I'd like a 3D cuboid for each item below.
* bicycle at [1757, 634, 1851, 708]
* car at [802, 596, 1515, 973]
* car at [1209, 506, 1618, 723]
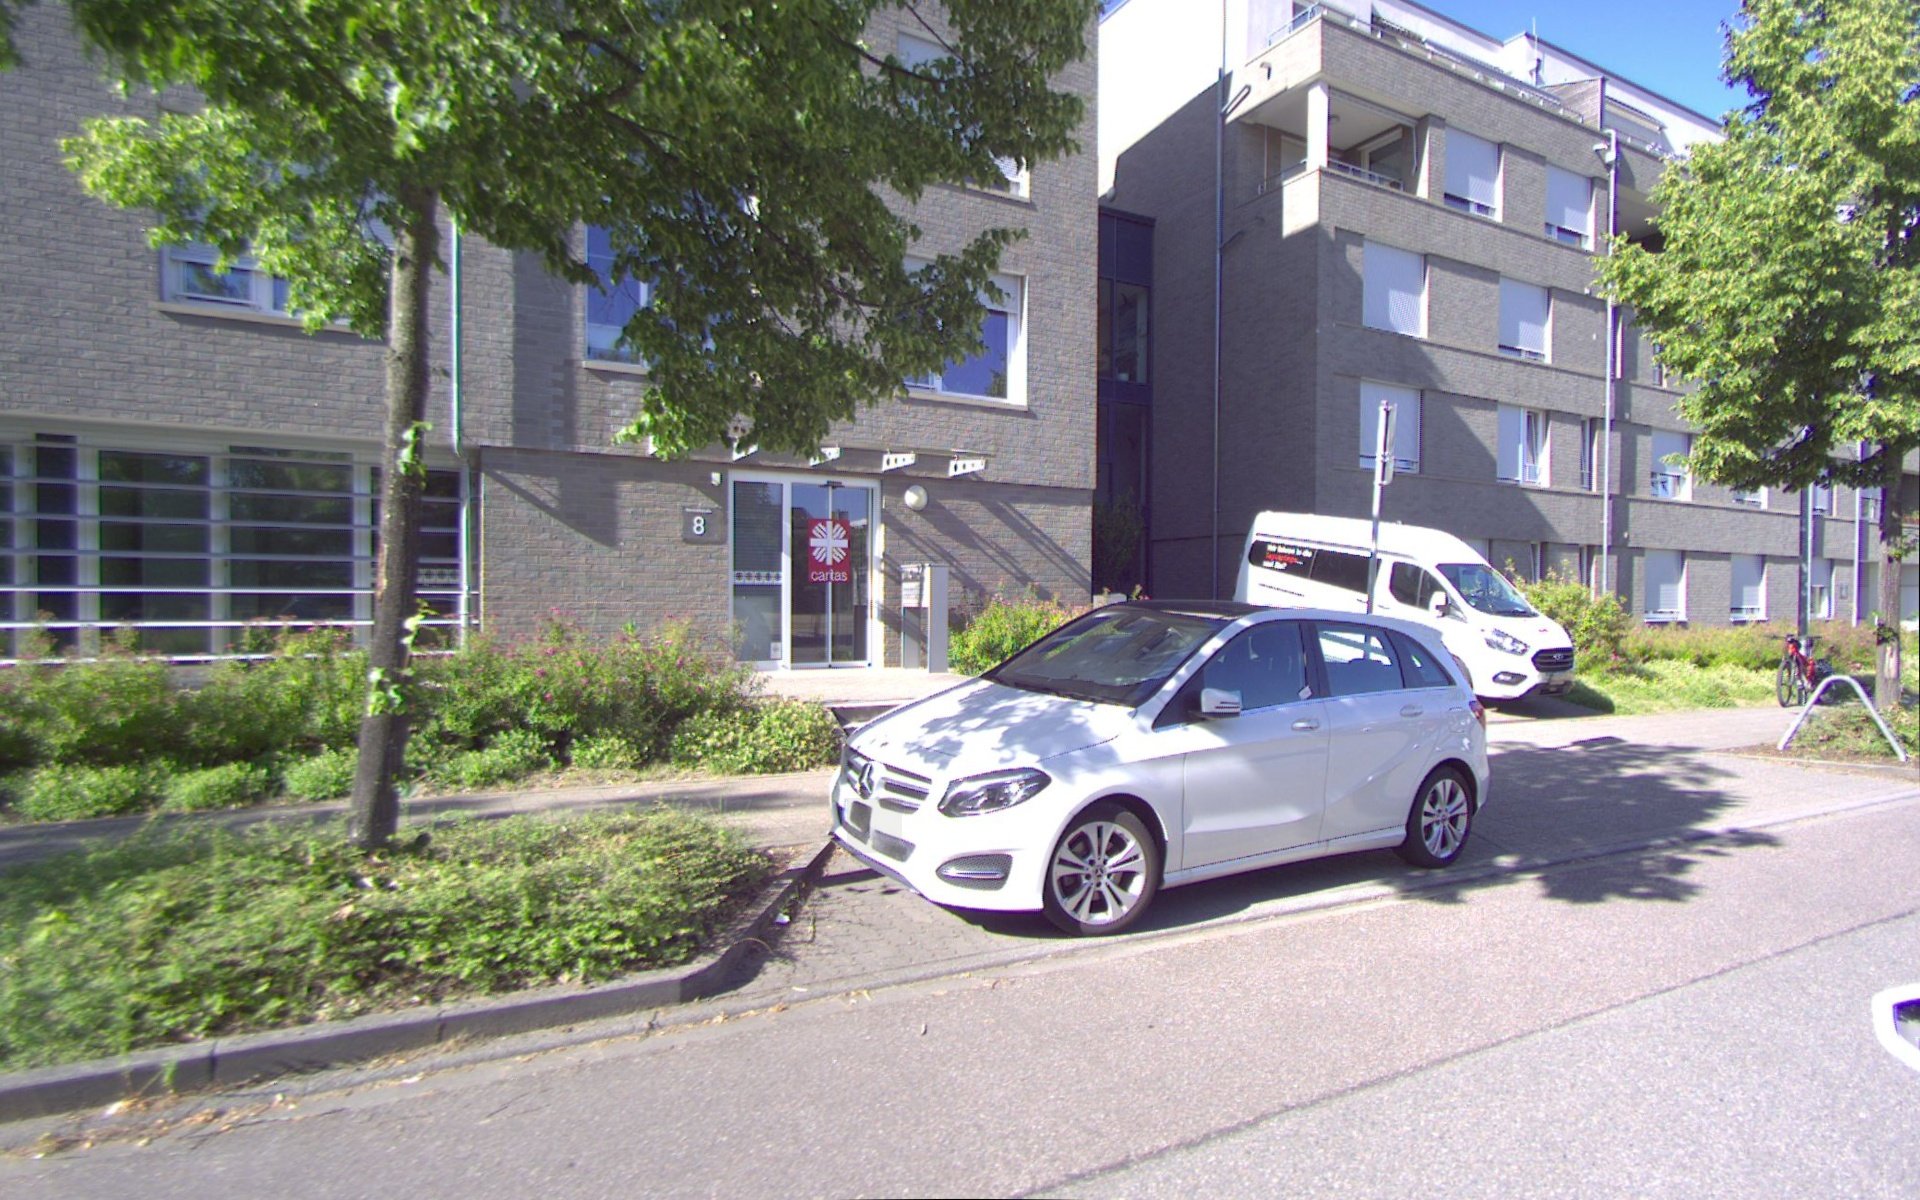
[{"bbox_3d":[13.593,1.119,16.167,1.956,1.139,0.283,1,0,-23],"label":"bicycle"},{"bbox_3d":[1.345,0.776,5.993,4.240,1.553,1.649,1,0,-33],"label":"car"},{"bbox_3d":[6.629,0.002,15.539,1.900,2.415,5.415,1,8,-32],"label":"car"}]
